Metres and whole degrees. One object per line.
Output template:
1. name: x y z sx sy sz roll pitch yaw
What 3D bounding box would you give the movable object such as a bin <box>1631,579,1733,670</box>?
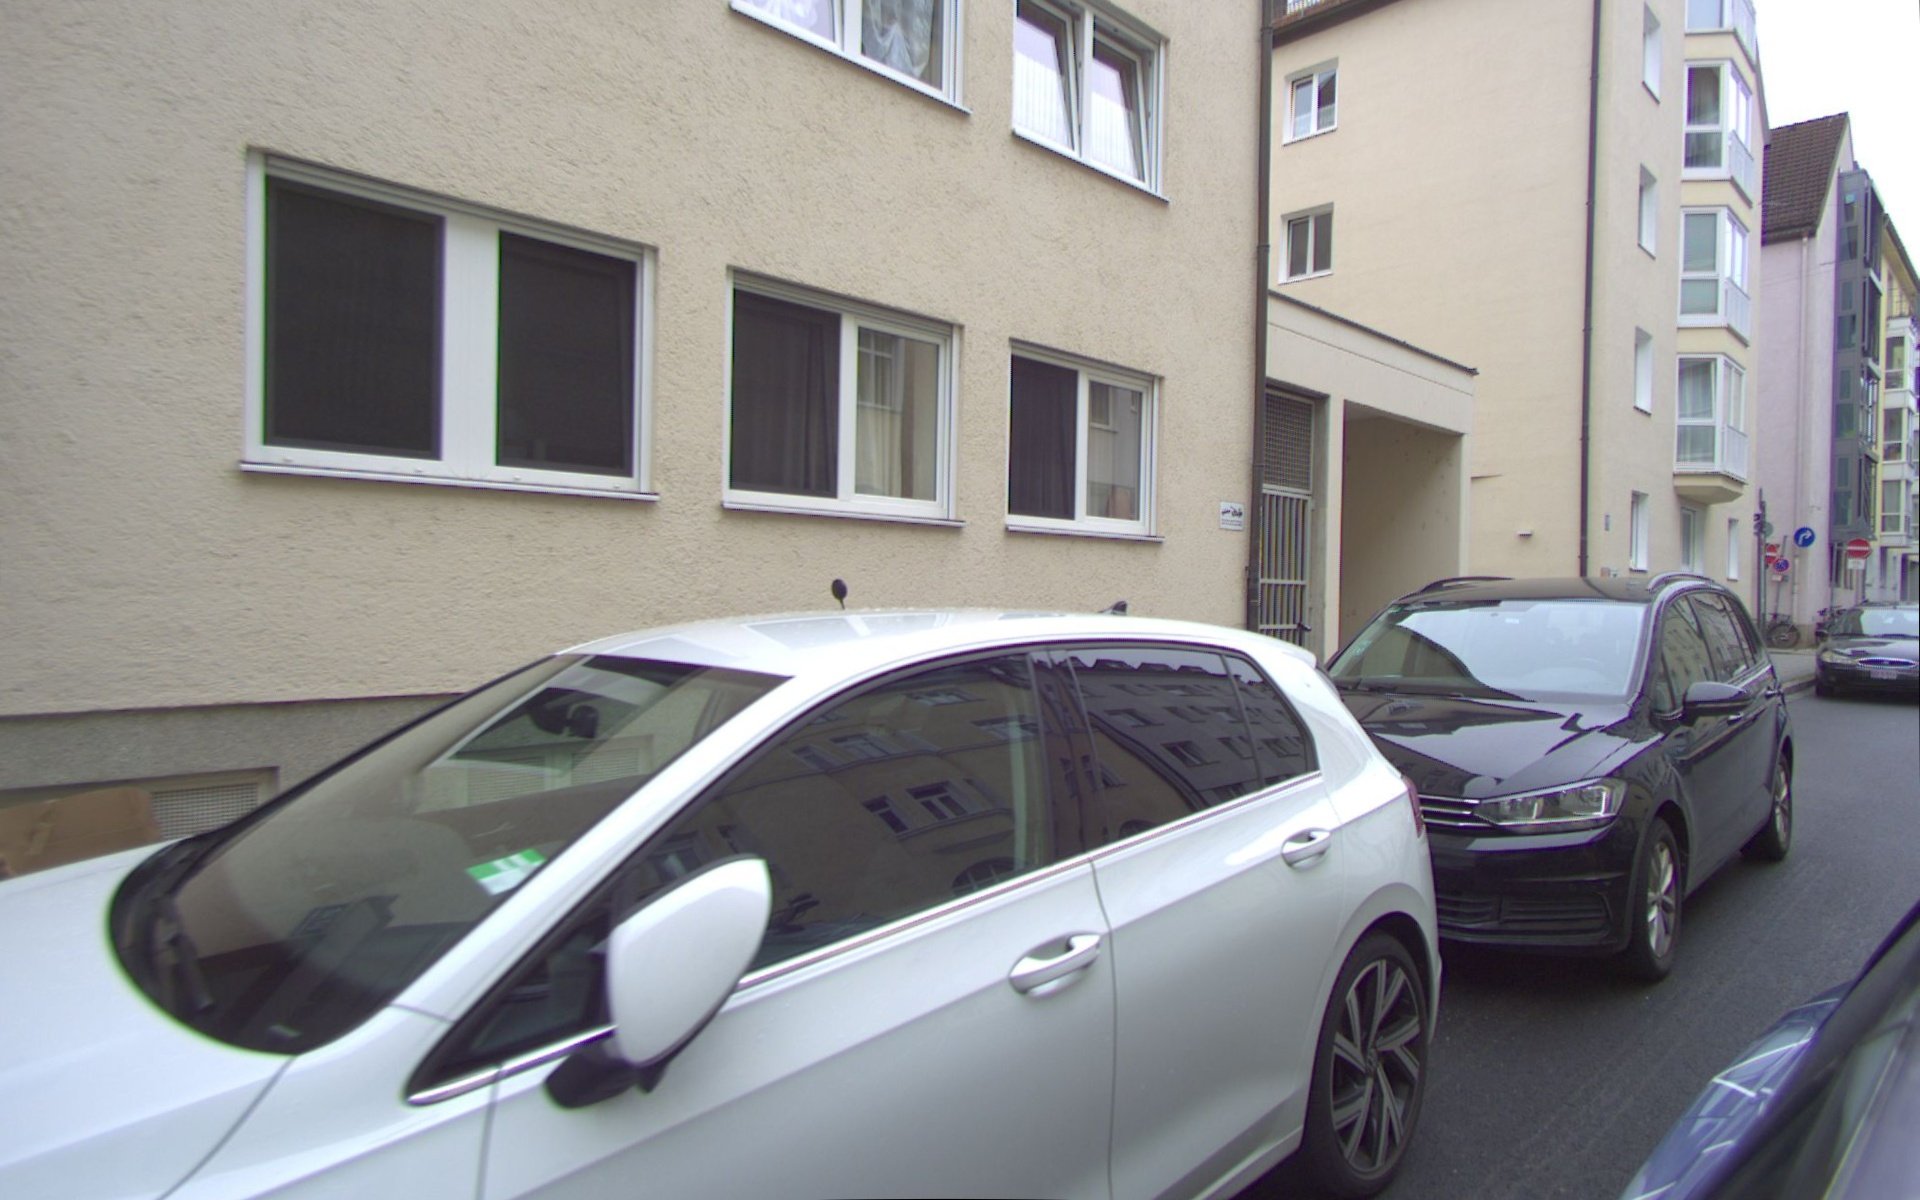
1. movable object such as a bin: 12.303 0.381 17.231 1.559 1.440 1.034 0 3 -41

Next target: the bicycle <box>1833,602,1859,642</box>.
1. bicycle: 26.204 0.647 29.921 1.516 1.136 0.357 1 0 -41

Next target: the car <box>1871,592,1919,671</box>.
1. car: 19.173 0.558 19.540 4.334 1.424 1.836 -1 0 -41

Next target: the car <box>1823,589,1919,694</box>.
1. car: 15.086 0.572 16.069 4.457 1.490 1.718 -1 0 -44

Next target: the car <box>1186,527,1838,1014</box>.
1. car: 3.177 0.553 5.410 4.170 1.628 1.714 0 0 -41

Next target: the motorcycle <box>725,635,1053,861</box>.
1. motorcycle: -0.323 0.734 5.618 1.878 0.979 0.482 0 5 -42

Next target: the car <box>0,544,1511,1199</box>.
1. car: -0.455 0.700 2.204 4.173 1.504 1.713 -1 0 -43

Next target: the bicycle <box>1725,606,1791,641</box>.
1. bicycle: 23.131 0.680 29.361 1.448 0.959 0.543 1 1 45
